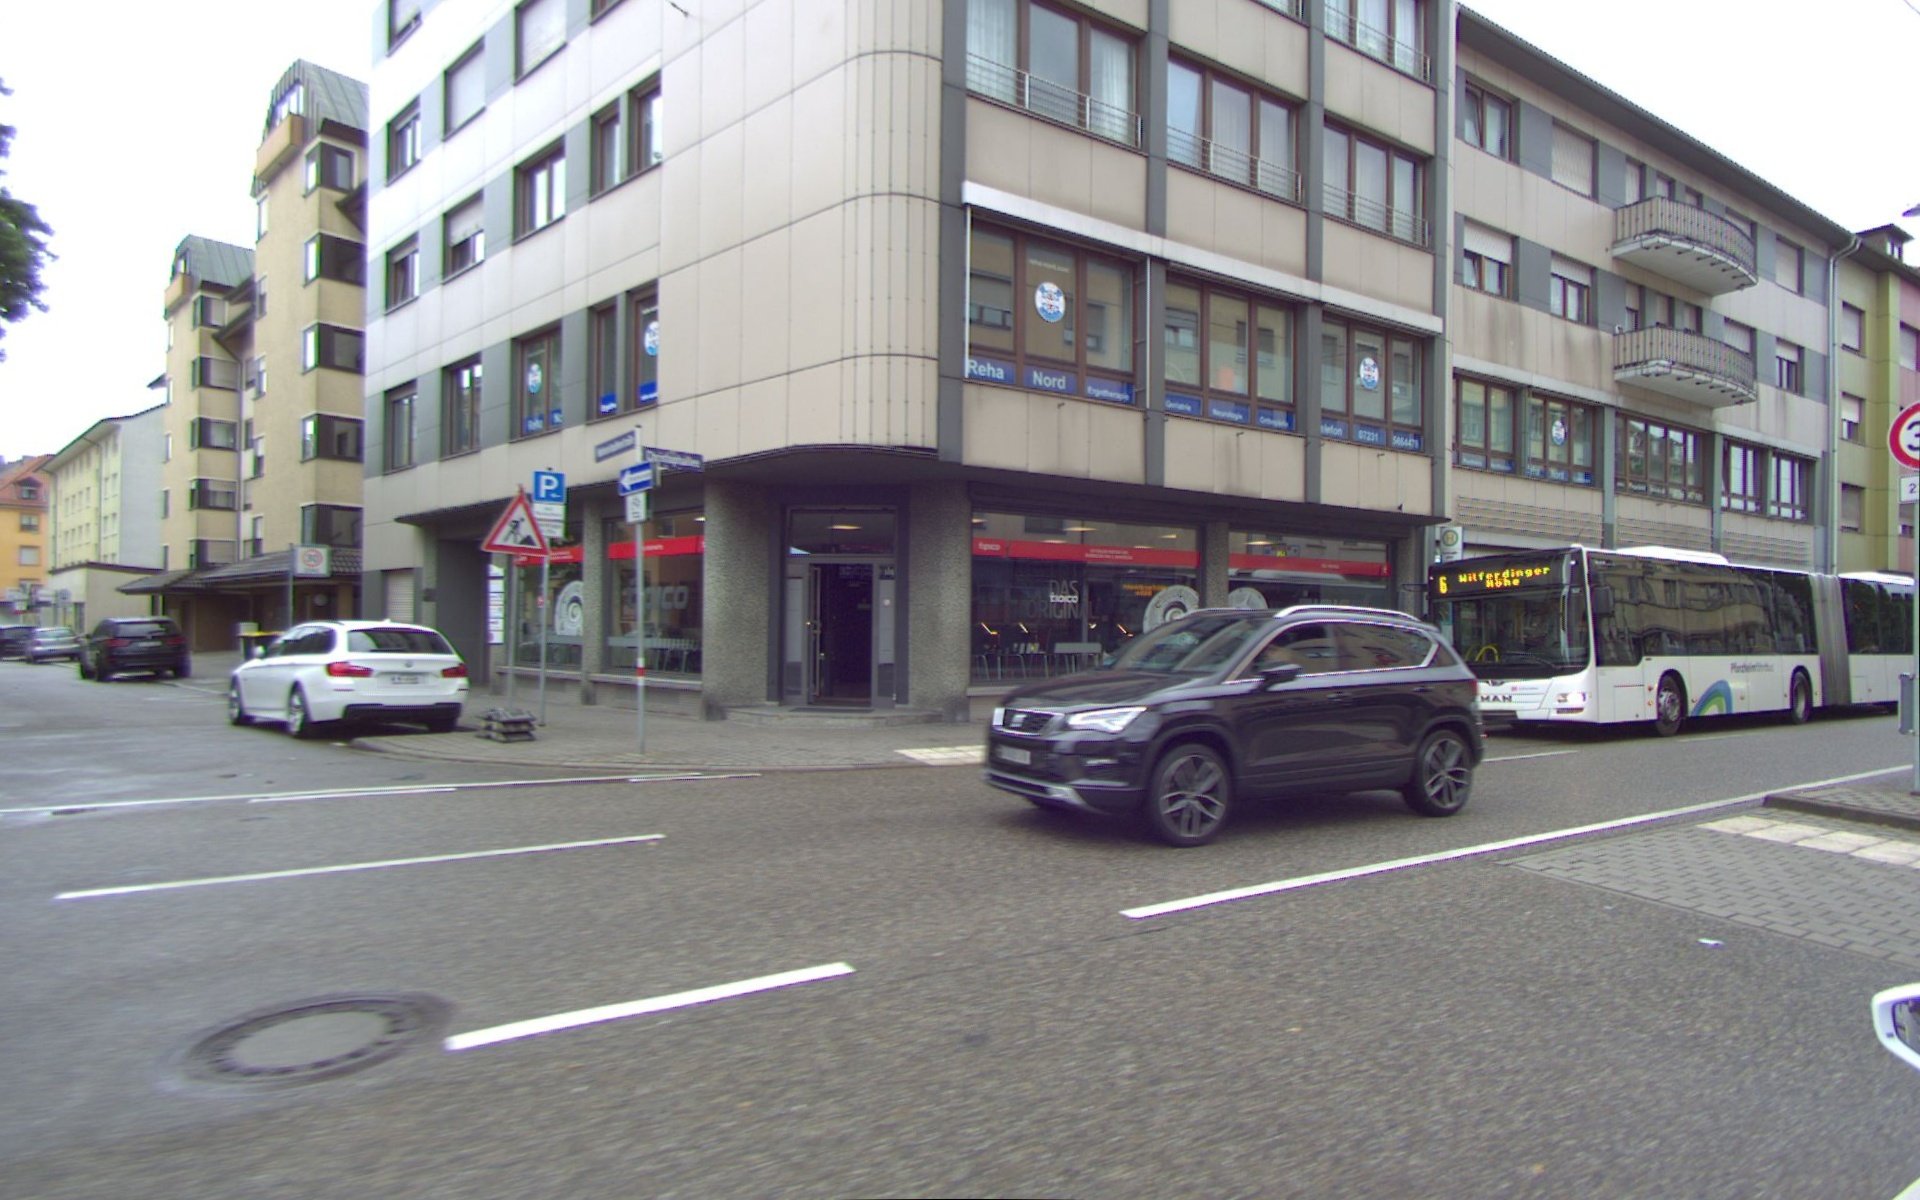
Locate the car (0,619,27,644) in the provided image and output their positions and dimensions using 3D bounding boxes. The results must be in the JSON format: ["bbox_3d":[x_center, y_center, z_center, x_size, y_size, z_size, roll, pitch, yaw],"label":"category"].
[{"bbox_3d":[-63.262,2.058,66.498,3.945,1.572,1.988,-1,-2,44],"label":"car"}]

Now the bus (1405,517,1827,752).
[{"bbox_3d":[11.572,0.625,17.328,8.814,3.230,2.743,2,-2,-33],"label":"bus"}]

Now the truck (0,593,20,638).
[{"bbox_3d":[-70.416,1.118,73.599,4.547,3.222,1.988,0,-2,44],"label":"truck"}]

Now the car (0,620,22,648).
[{"bbox_3d":[-55.774,1.953,58.143,3.945,1.572,1.988,-1,-2,44],"label":"car"}]

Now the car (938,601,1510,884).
[{"bbox_3d":[2.148,0.887,7.839,4.364,1.684,1.735,1,-1,-29],"label":"car"}]

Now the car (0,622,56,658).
[{"bbox_3d":[-43.946,1.850,47.153,3.945,1.572,1.988,-1,-2,44],"label":"car"}]

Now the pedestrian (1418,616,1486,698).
[{"bbox_3d":[9.937,1.137,20.303,0.824,1.610,0.941,2,-2,-29],"label":"pedestrian"}]

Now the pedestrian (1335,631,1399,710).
[{"bbox_3d":[7.471,1.280,18.441,0.777,1.414,0.765,2,-2,-29],"label":"pedestrian"}]

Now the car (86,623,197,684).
[{"bbox_3d":[-23.232,1.462,28.455,3.945,1.572,1.988,-1,-2,44],"label":"car"}]

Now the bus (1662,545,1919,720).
[{"bbox_3d":[19.183,0.762,22.203,9.191,3.230,2.710,2,-2,-33],"label":"bus"}]

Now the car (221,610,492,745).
[{"bbox_3d":[-8.420,0.937,13.832,4.576,1.553,1.896,0,-2,42],"label":"car"}]

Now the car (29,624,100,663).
[{"bbox_3d":[-38.591,1.834,43.259,3.945,1.572,1.988,-1,-2,44],"label":"car"}]
